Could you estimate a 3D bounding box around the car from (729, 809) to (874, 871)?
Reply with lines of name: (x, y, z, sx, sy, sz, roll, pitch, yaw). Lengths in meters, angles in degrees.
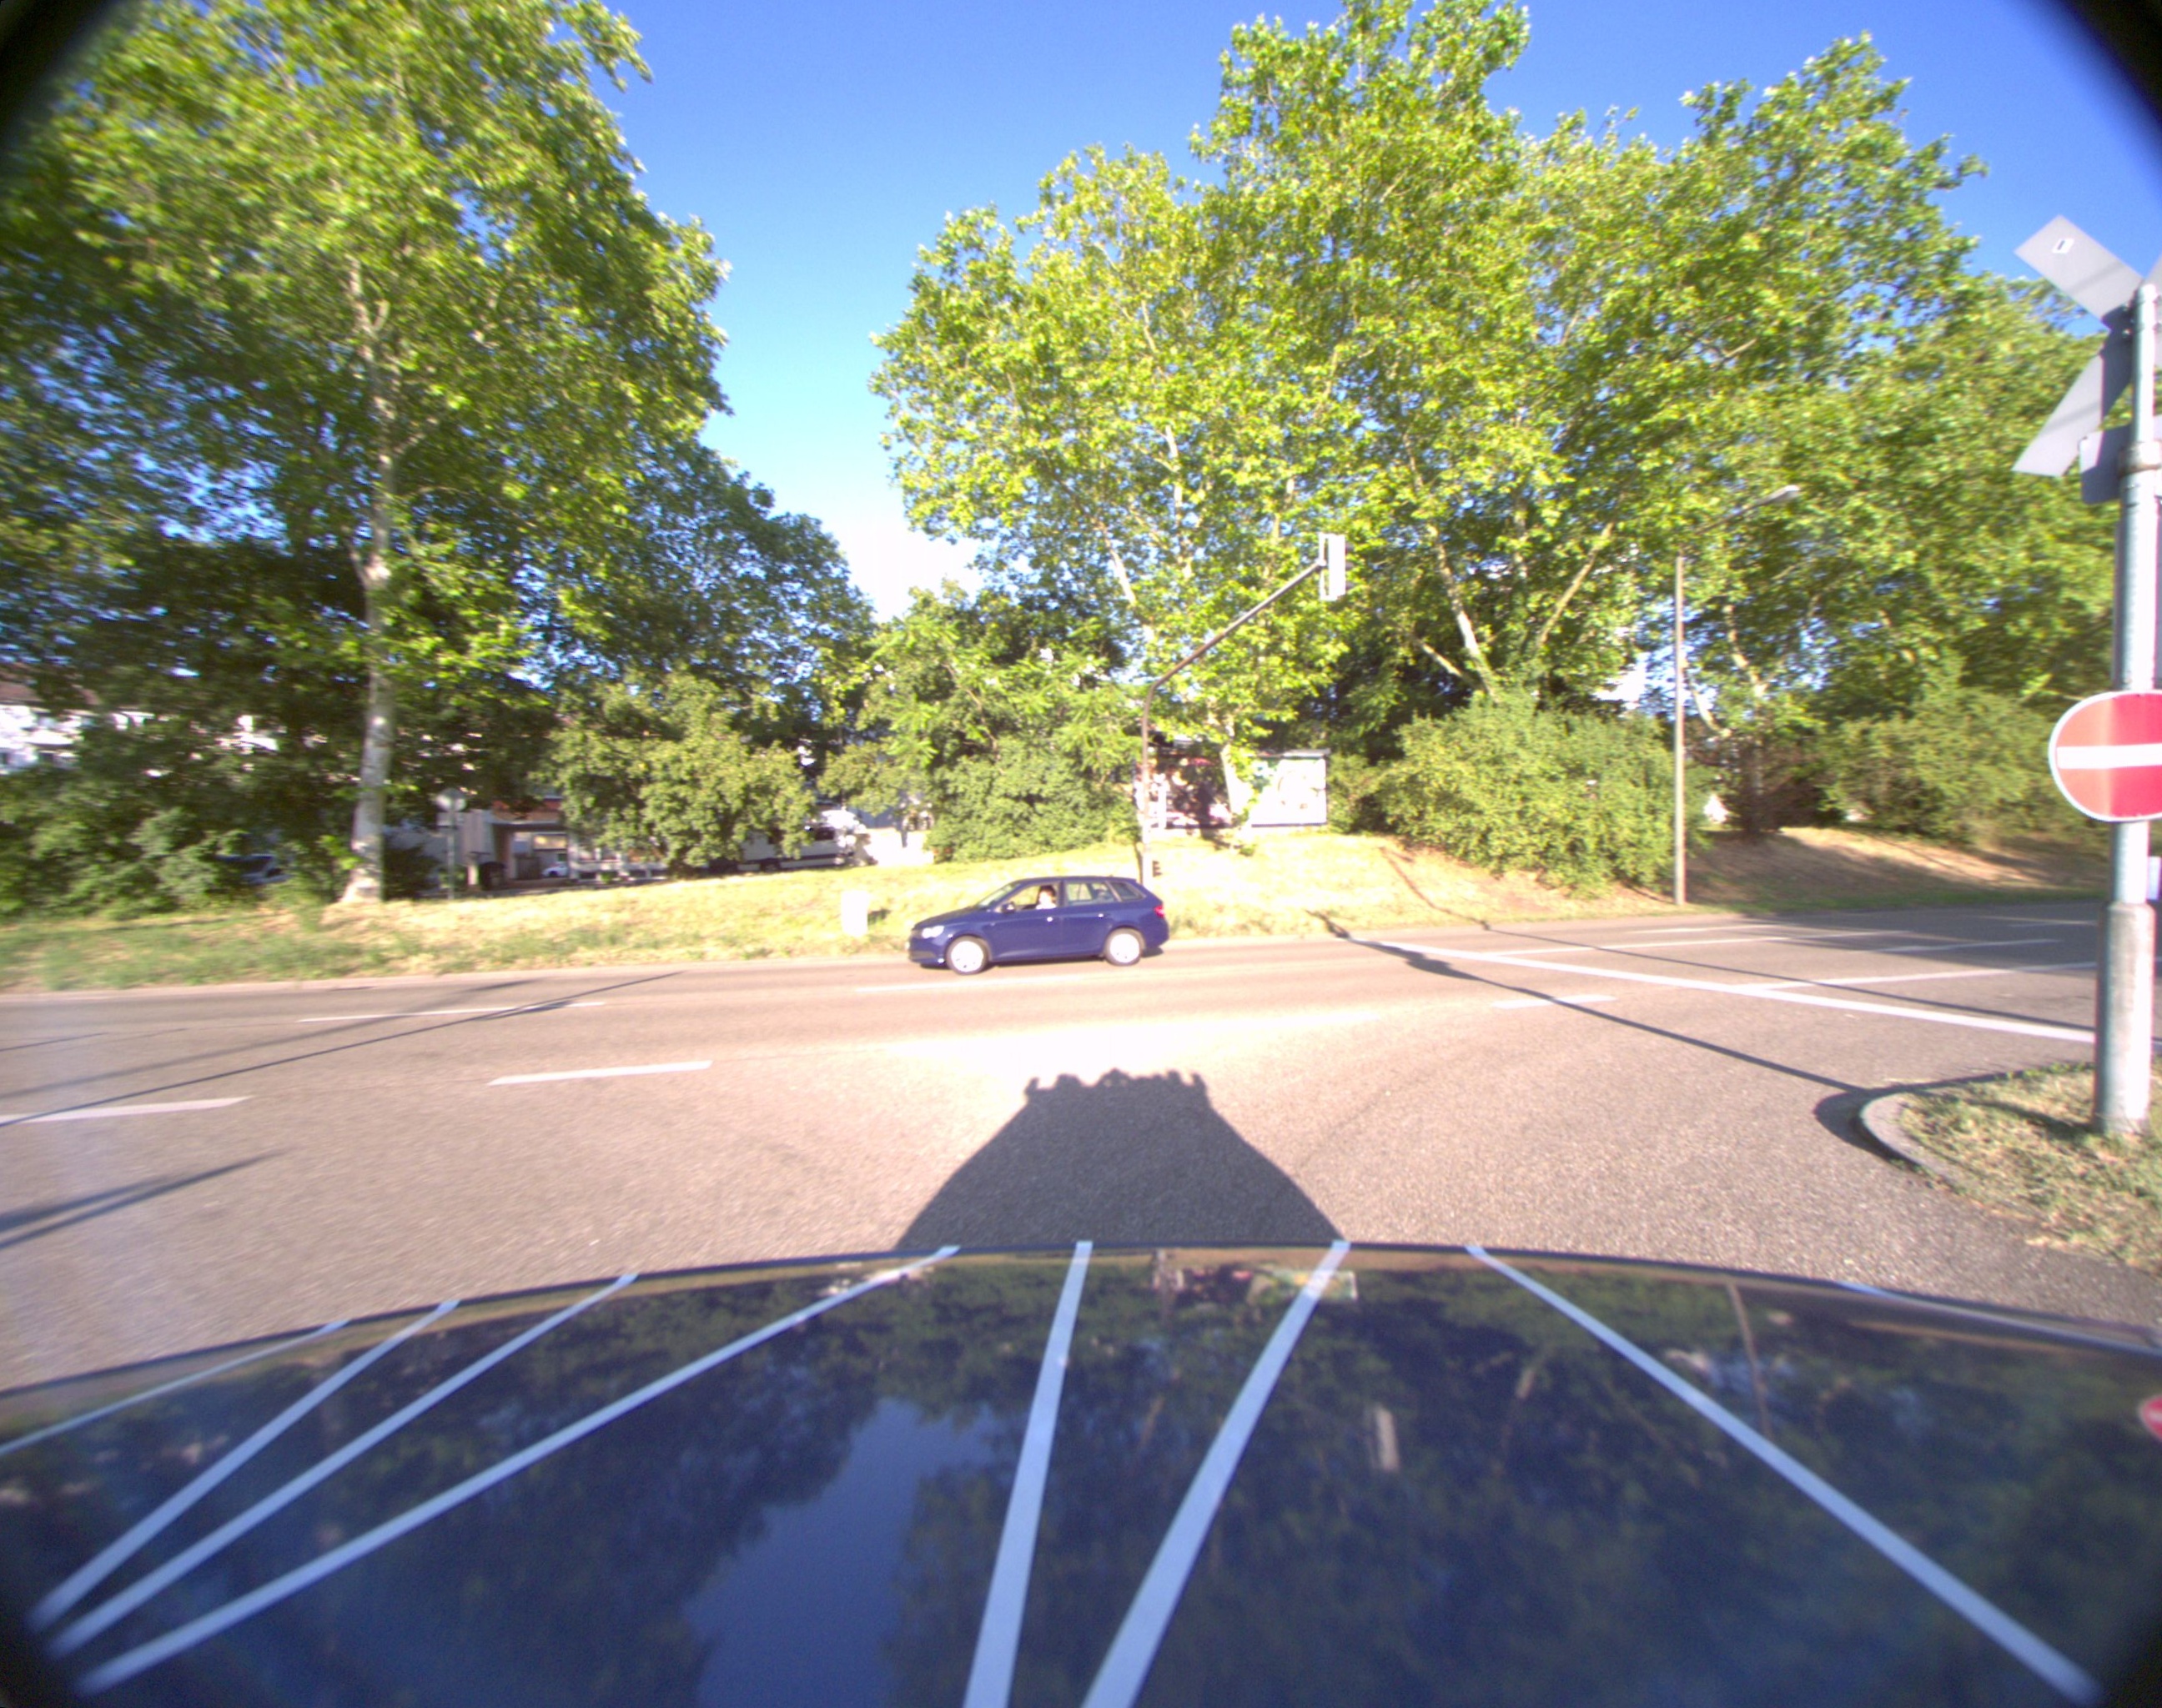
car: (-12.031, -0.606, 33.049, 5.628, 2.498, 1.805, -1, 0, -10)

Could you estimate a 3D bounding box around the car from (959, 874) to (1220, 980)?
car: (0.092, 1.119, 12.553, 3.987, 1.433, 1.628, -1, 0, -14)
